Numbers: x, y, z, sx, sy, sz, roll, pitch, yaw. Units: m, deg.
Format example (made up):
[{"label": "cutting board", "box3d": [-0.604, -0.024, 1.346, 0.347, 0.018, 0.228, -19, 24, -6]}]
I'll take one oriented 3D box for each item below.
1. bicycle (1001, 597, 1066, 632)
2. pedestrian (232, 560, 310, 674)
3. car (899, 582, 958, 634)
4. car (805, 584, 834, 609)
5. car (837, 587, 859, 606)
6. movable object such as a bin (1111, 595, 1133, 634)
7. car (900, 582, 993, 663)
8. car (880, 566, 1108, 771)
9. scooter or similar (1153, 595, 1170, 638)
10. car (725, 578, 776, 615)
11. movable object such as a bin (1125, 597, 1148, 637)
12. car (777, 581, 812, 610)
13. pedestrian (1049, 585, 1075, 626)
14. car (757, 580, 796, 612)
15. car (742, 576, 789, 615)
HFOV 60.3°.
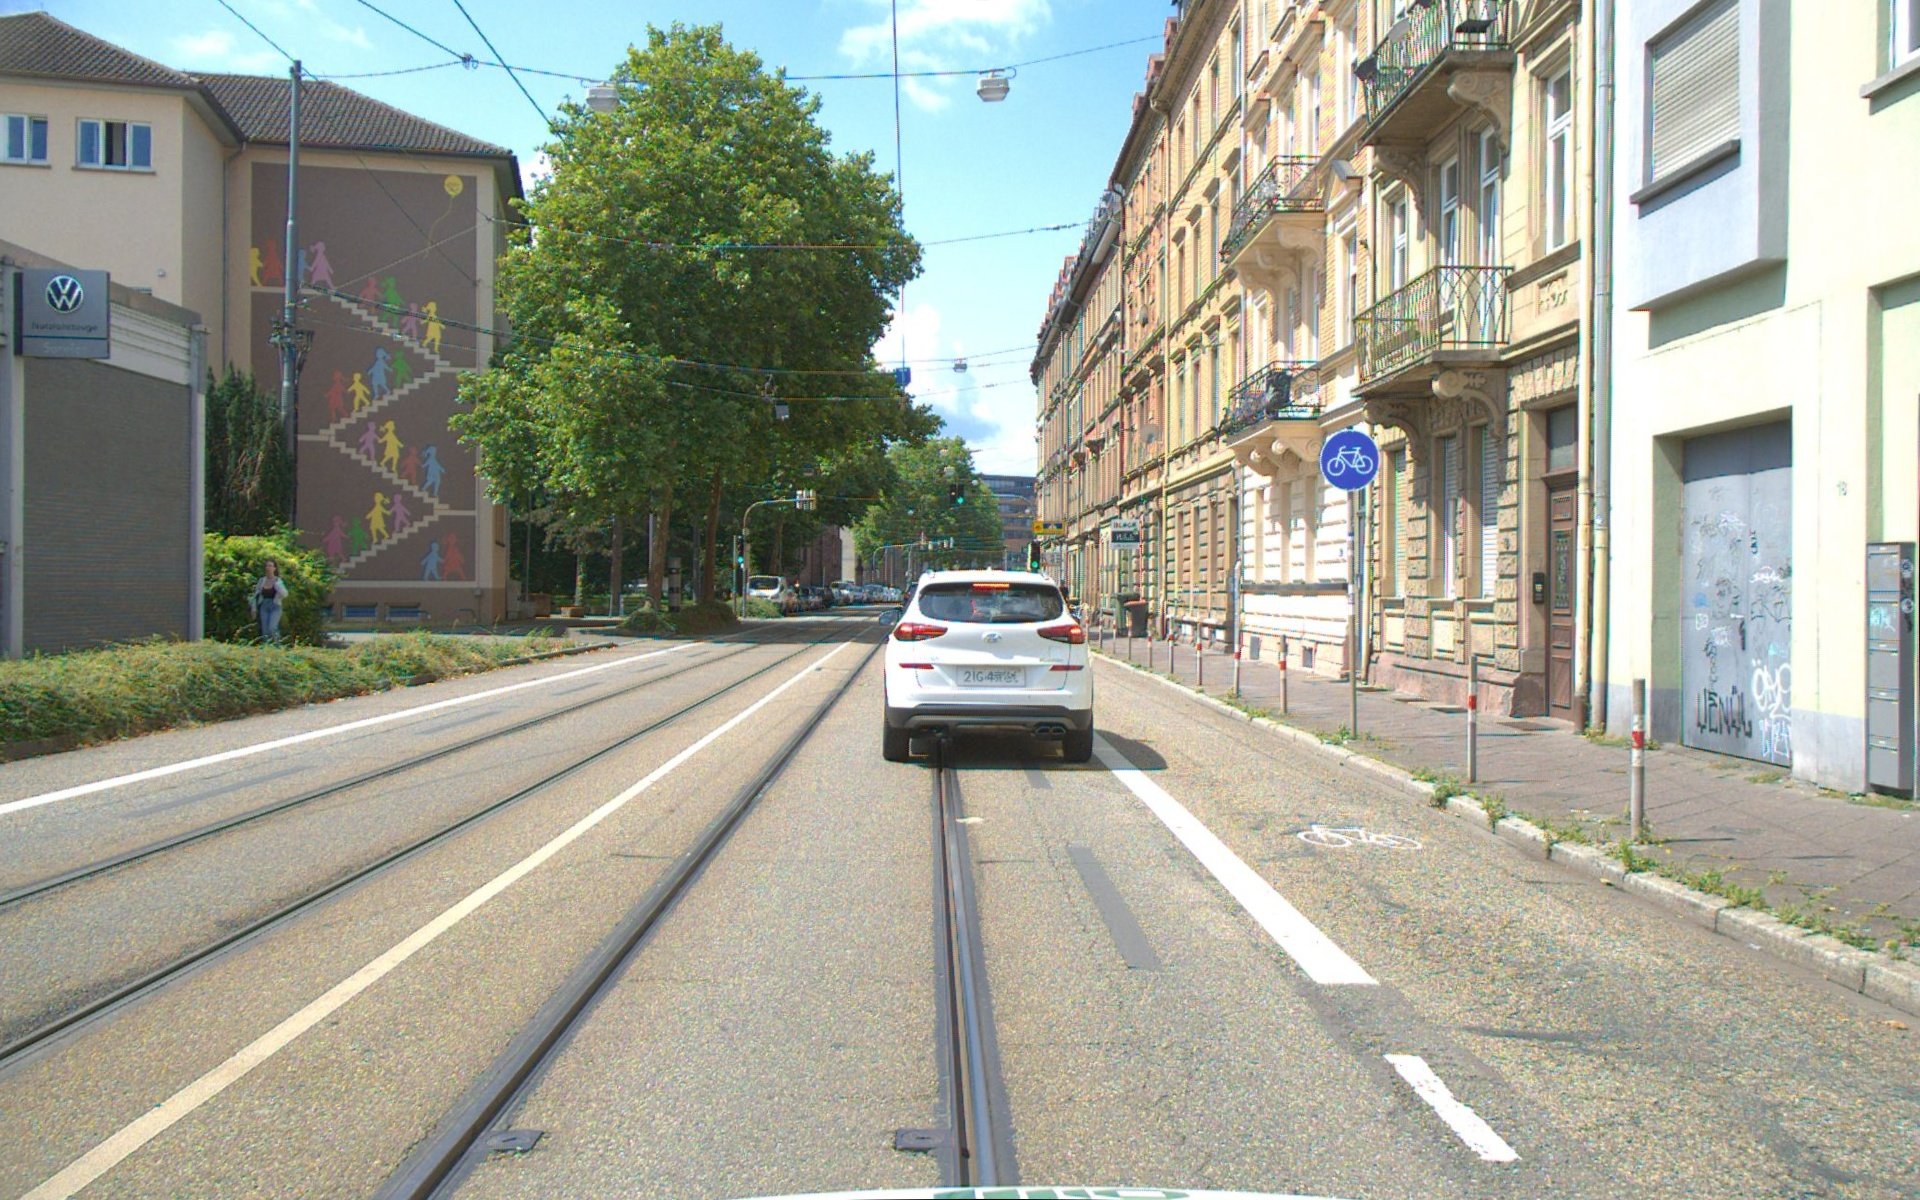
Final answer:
[{"label": "bicycle", "box3d": [2.547, 0.495, 57.460, 2.222, 1.164, 0.584, 1, 0, -3]}, {"label": "pedestrian", "box3d": [-11.797, 0.279, 28.352, 0.862, 1.898, 1.081, -1, 0, -1]}, {"label": "car", "box3d": [-0.977, 0.226, 52.171, 1.777, 1.550, 3.955, 1, 0, -1]}, {"label": "car", "box3d": [-9.976, -0.257, 117.600, 1.911, 1.660, 3.997, 1, 0, -3]}, {"label": "car", "box3d": [-10.092, -0.290, 148.852, 1.911, 1.660, 3.997, 1, 0, -3]}, {"label": "movable object such as a bin", "box3d": [4.951, 0.437, 50.549, 0.600, 1.163, 0.638, 0, 0, -1]}, {"label": "car", "box3d": [-0.255, 0.419, 33.769, 1.777, 1.551, 4.085, 0, 0, 0]}, {"label": "car", "box3d": [0.184, 0.545, 15.645, 1.815, 1.662, 4.178, 1, 0, -4]}, {"label": "scooter or similar", "box3d": [5.619, 0.456, 46.069, 0.387, 1.184, 0.486, 1, 0, -1]}, {"label": "car", "box3d": [-9.922, -0.167, 78.686, 1.910, 1.660, 4.575, 1, 0, -1]}, {"label": "movable object such as a bin", "box3d": [5.234, 0.499, 49.125, 0.600, 1.163, 0.638, 1, 0, -1]}, {"label": "car", "box3d": [-9.993, -0.293, 99.835, 1.911, 1.660, 3.997, 1, 0, -3]}, {"label": "pedestrian", "box3d": [4.027, 0.201, 65.414, 0.919, 1.600, 1.049, 1, 0, -1]}, {"label": "car", "box3d": [-10.183, -0.229, 91.873, 1.911, 1.660, 3.997, 1, 0, -3]}, {"label": "car", "box3d": [-9.911, -0.250, 84.664, 1.910, 1.928, 4.564, 1, 0, -1]}]
